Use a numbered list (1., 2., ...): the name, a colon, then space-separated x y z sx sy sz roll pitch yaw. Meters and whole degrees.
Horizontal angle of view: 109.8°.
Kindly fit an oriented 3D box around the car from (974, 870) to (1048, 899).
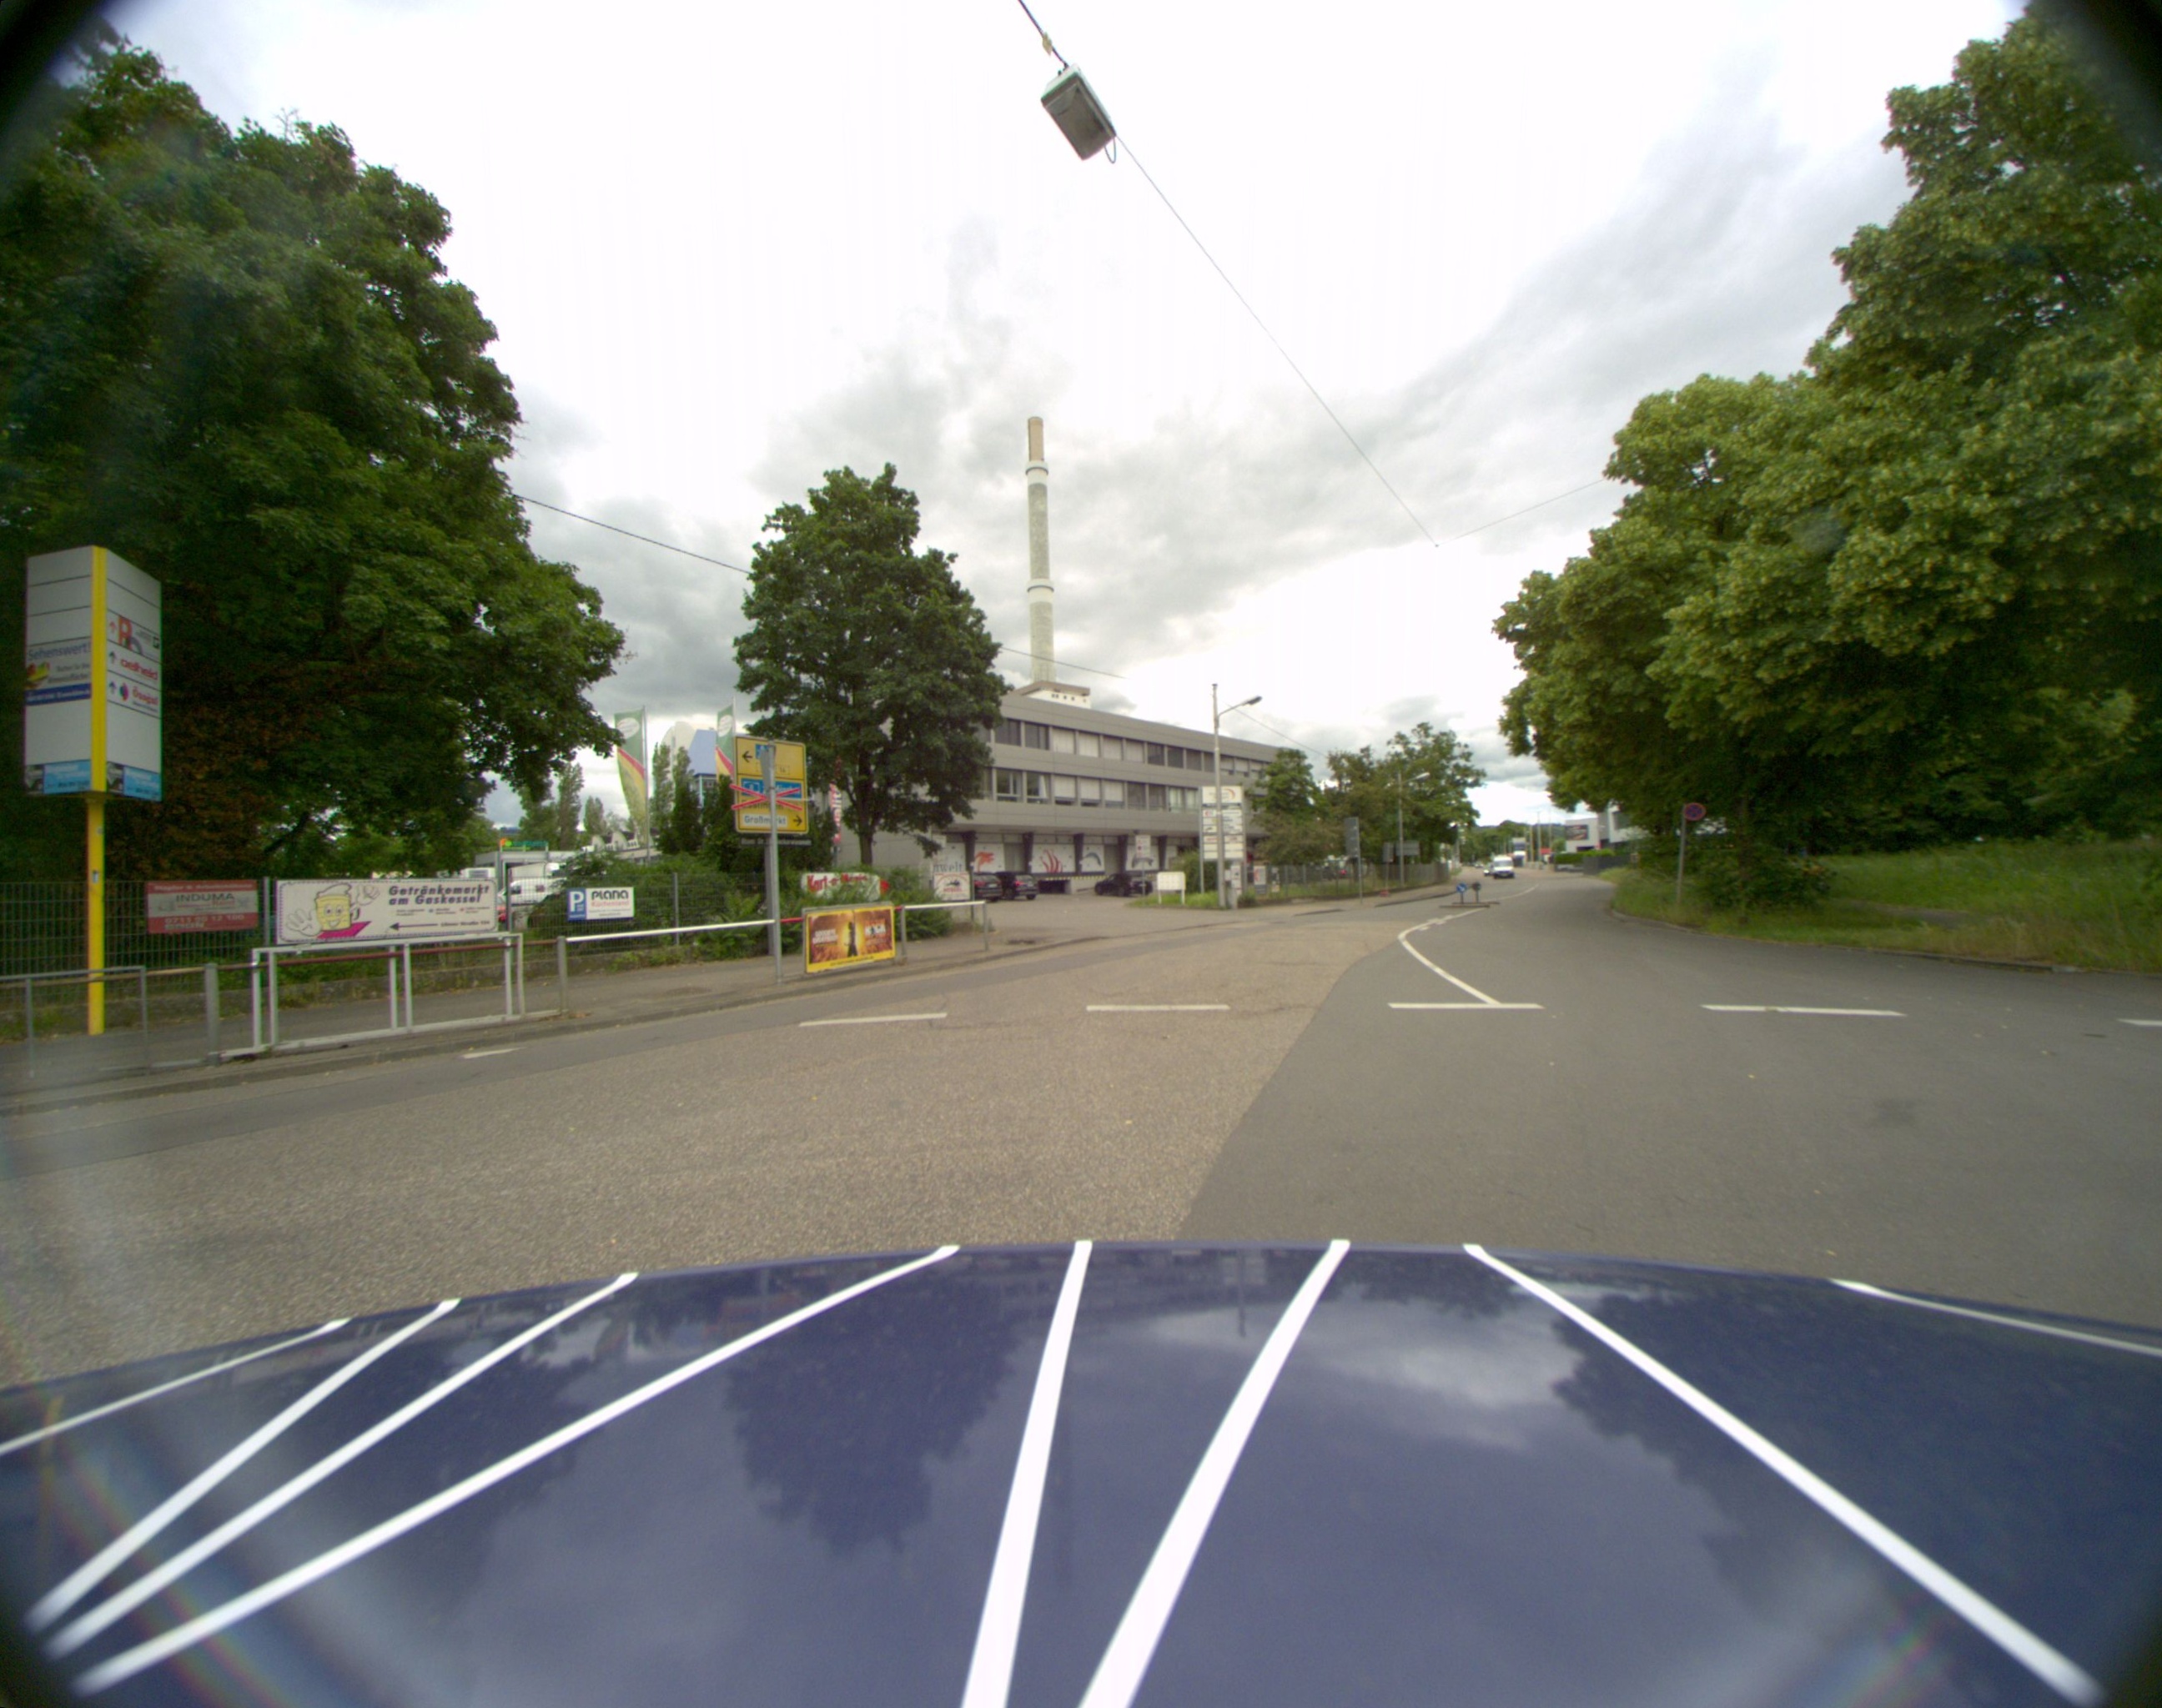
1. car: -4.085 1.729 44.070 4.411 1.608 1.843 -1 -1 45

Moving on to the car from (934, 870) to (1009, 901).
1. car: -6.101 1.711 41.949 1.843 1.608 4.453 0 -1 -44

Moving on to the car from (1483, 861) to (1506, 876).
1. car: 54.077 1.865 99.292 2.384 1.858 5.217 -4 -2 29

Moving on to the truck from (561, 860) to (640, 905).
1. truck: -47.552 2.898 74.817 15.809 4.000 2.879 -3 -2 44

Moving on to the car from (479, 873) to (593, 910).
1. car: -44.121 2.963 61.669 2.238 2.716 7.170 -3 -2 44

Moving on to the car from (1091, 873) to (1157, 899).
1. car: 2.655 2.012 48.707 2.053 1.437 4.818 -1 0 -27

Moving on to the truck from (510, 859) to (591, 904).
1. truck: -50.613 2.739 72.208 15.687 3.909 2.858 -3 -2 42

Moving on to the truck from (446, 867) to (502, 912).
1. truck: -59.842 3.471 74.836 9.164 4.140 3.006 -3 -1 44

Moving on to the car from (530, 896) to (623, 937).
1. car: -17.331 2.100 26.033 3.692 1.241 1.713 -3 -2 41

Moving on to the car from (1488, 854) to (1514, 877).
1. car: 47.174 1.244 85.330 2.384 2.443 6.112 -3 -2 29
